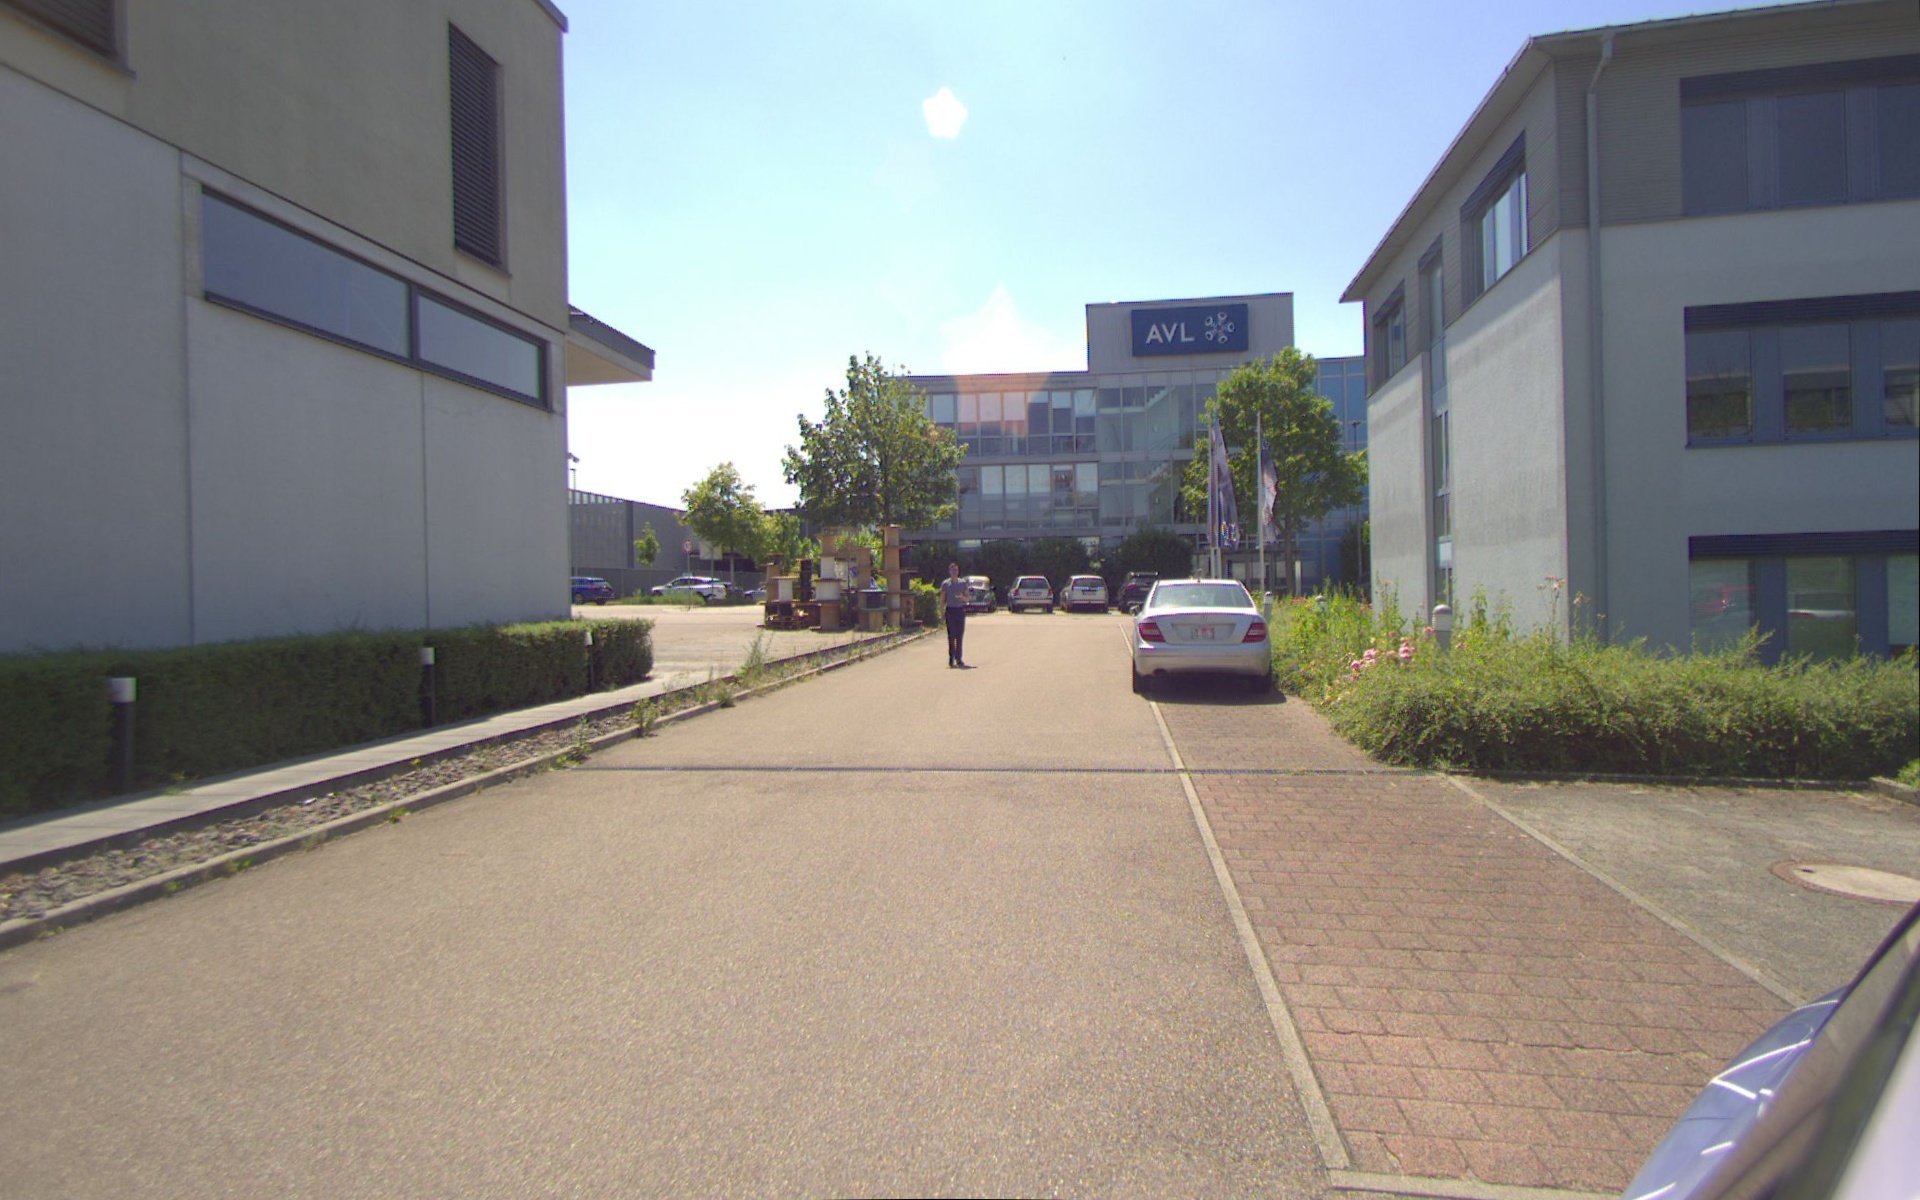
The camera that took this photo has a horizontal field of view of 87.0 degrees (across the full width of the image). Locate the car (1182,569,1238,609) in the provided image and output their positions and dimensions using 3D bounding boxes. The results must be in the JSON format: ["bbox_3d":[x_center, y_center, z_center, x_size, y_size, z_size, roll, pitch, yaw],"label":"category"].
[{"bbox_3d":[10.056,-0.482,40.958,1.702,1.503,4.389,-1,1,8],"label":"car"}]

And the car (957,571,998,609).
[{"bbox_3d":[0.736,-0.443,41.480,1.495,1.463,3.416,0,2,4],"label":"car"}]

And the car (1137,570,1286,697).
[{"bbox_3d":[3.331,0.334,13.993,1.707,1.475,4.136,0,2,11],"label":"car"}]

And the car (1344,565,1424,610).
[{"bbox_3d":[16.613,-0.530,39.860,1.802,1.657,4.164,0,1,7],"label":"car"}]

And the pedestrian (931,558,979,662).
[{"bbox_3d":[-0.078,0.155,17.834,0.794,1.790,0.769,-1,2,1],"label":"pedestrian"}]

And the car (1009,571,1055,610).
[{"bbox_3d":[2.881,-0.419,41.219,1.612,1.470,3.601,0,2,1],"label":"car"}]

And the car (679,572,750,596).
[{"bbox_3d":[-15.747,-1.021,64.964,4.242,1.494,1.767,0,1,24],"label":"car"}]

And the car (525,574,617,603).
[{"bbox_3d":[-20.357,-0.598,52.978,4.392,1.427,1.847,0,1,21],"label":"car"}]

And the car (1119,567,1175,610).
[{"bbox_3d":[7.517,-0.513,40.996,1.906,1.622,3.854,0,2,6],"label":"car"}]

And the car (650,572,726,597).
[{"bbox_3d":[-16.662,-0.936,62.032,4.366,1.494,1.767,0,1,24],"label":"car"}]

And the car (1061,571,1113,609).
[{"bbox_3d":[5.190,-0.450,41.665,1.700,1.470,3.601,0,2,1],"label":"car"}]
